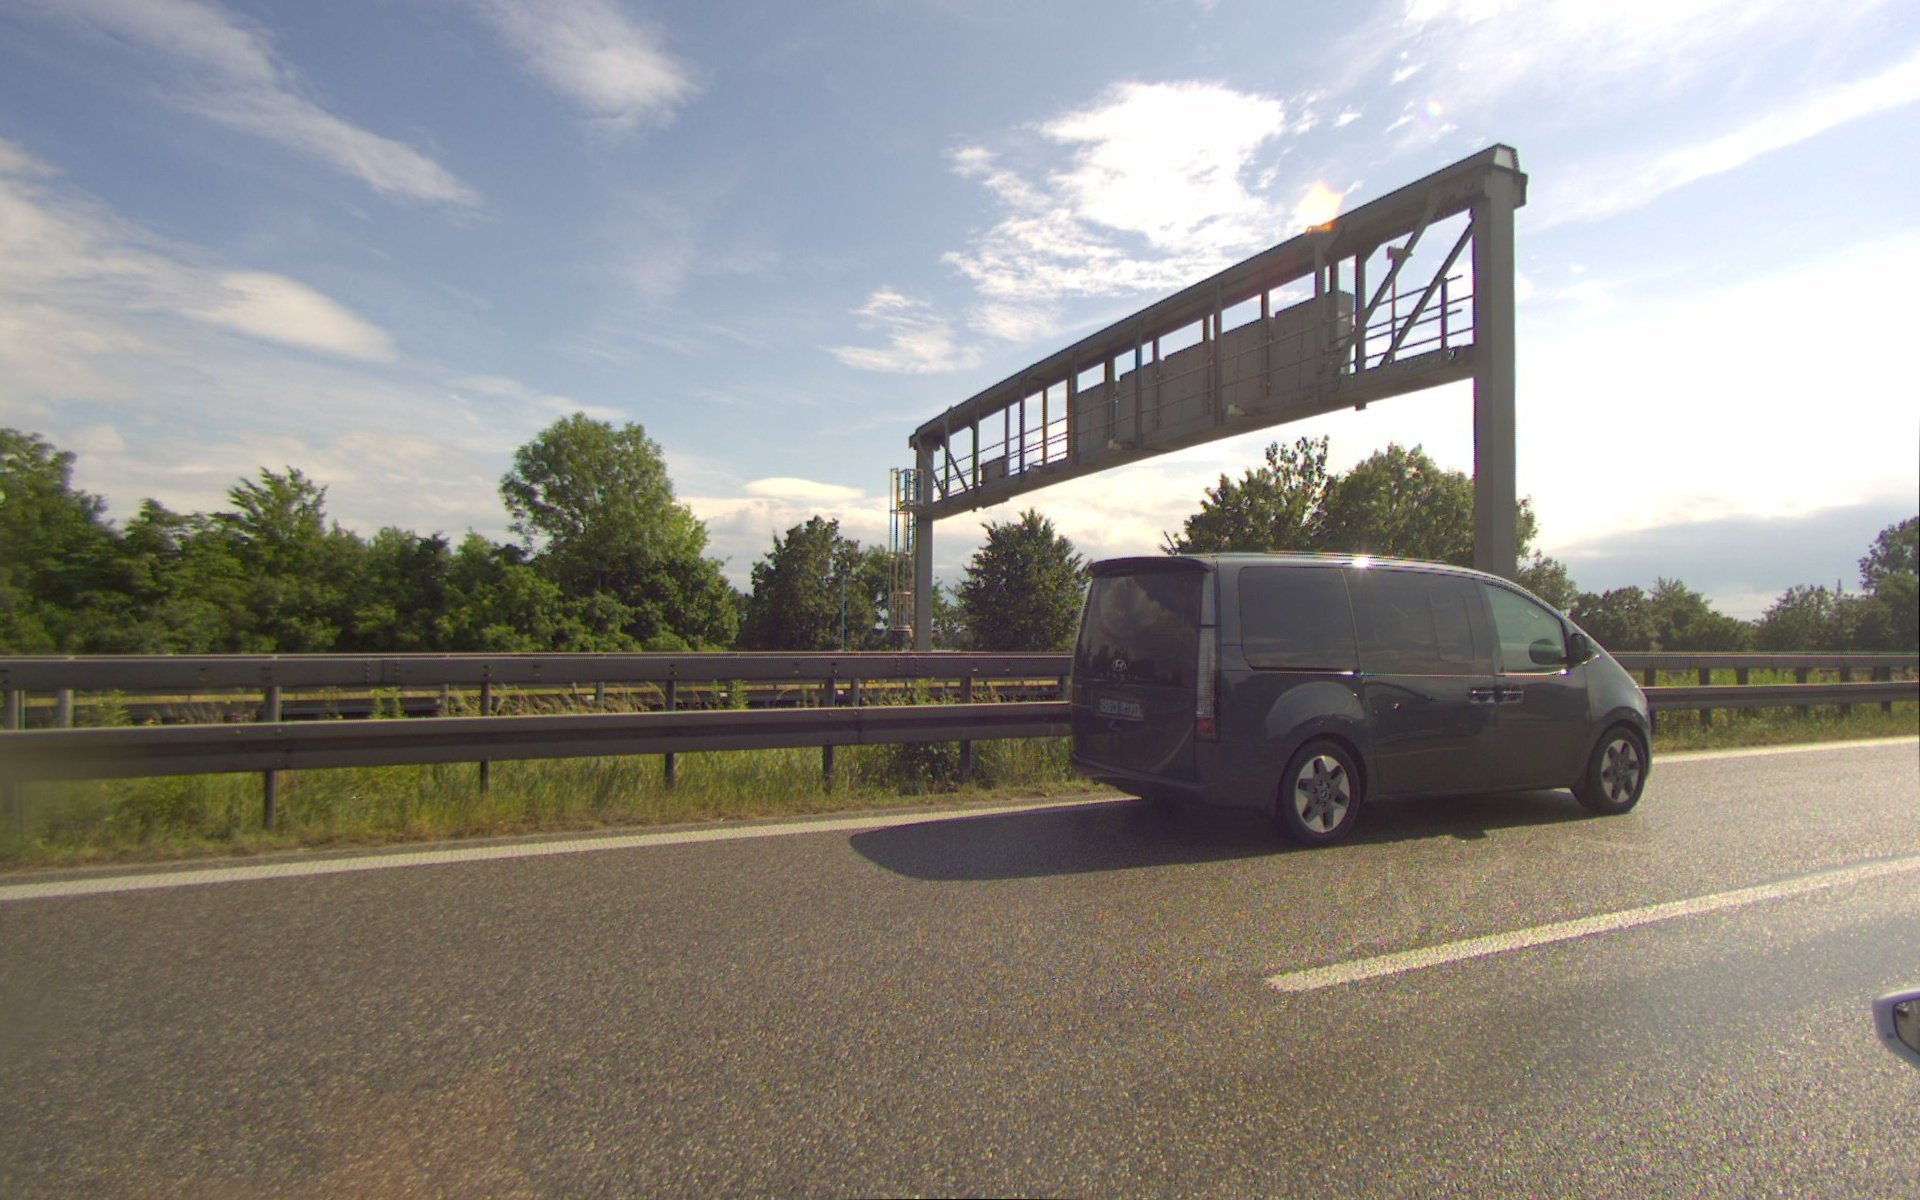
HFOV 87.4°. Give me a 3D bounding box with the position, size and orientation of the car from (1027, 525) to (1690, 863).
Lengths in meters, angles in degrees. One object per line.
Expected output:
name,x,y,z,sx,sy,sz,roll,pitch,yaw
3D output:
car,3.294,0.635,8.101,5.199,2.040,1.987,1,-1,-26
